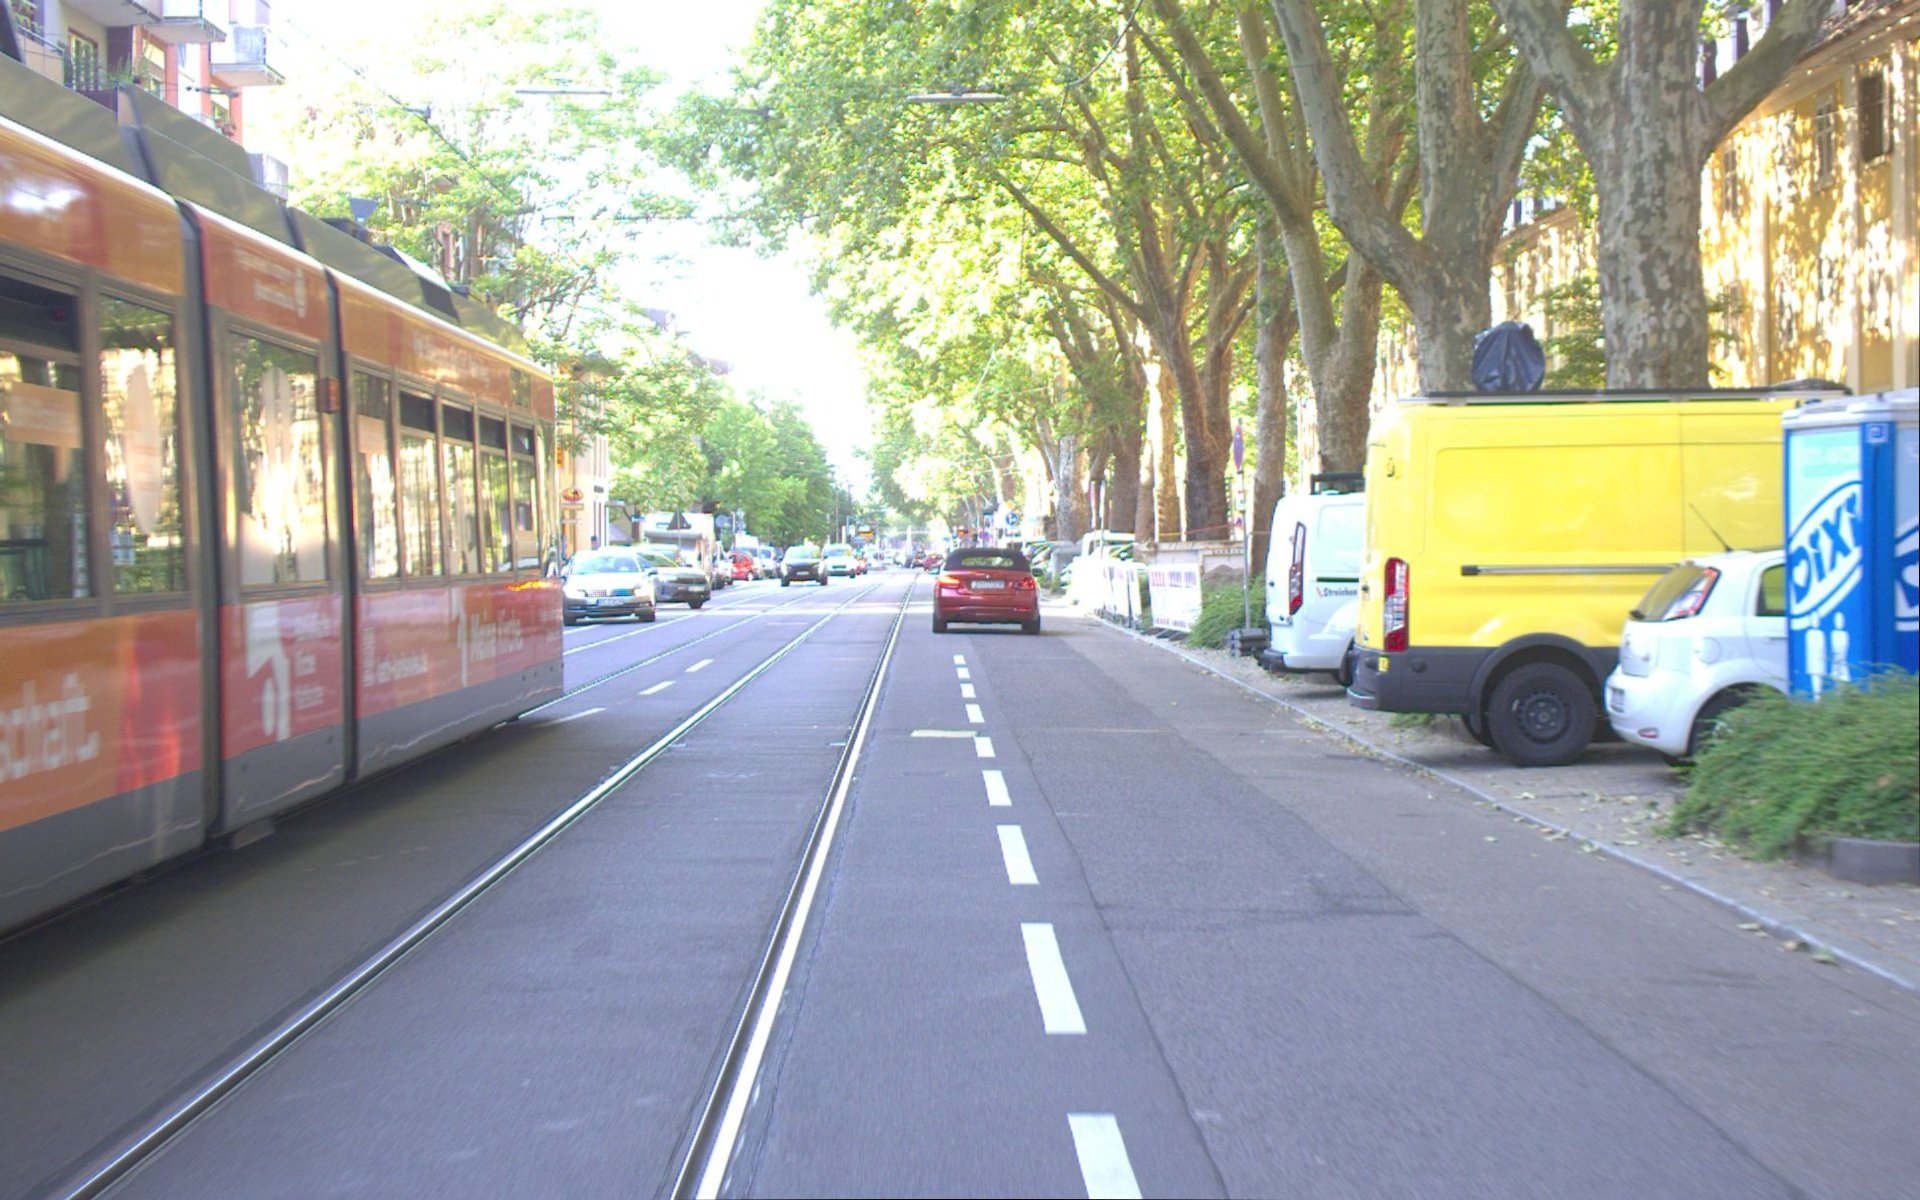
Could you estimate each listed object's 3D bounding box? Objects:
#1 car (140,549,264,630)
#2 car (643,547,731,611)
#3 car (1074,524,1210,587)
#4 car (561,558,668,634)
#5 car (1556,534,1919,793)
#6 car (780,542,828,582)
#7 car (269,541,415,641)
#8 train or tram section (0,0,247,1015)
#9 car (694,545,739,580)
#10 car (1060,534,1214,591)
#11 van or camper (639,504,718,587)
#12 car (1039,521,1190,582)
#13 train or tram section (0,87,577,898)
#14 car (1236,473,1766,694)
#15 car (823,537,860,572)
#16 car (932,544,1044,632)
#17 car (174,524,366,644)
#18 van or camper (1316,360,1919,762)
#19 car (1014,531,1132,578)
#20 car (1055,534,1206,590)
[{"bbox_3d":[-20.279,-0.293,91.848,1.993,2.116,4.723,0,0,-29],"label":"car"},{"bbox_3d":[-6.634,-0.528,83.898,1.796,1.441,4.053,-2,1,0],"label":"car"},{"bbox_3d":[5.252,-1.289,99.195,3.844,1.766,1.916,-1,1,4],"label":"car"},{"bbox_3d":[-6.958,-0.106,69.649,1.795,1.441,4.717,1,1,-2],"label":"car"},{"bbox_3d":[5.805,0.346,21.329,3.906,1.484,1.863,-1,1,2],"label":"car"},{"bbox_3d":[-6.452,-1.604,142.870,1.853,1.595,4.464,-2,1,-1],"label":"car"},{"bbox_3d":[-10.053,-0.160,56.150,1.626,1.566,3.781,-1,0,1],"label":"car"},{"bbox_3d":[-4.476,-0.358,8.103,2.908,3.474,13.370,-1,1,-1],"label":"train or tram section"},{"bbox_3d":[-11.027,-1.709,155.674,1.836,1.463,5.070,2,1,-3],"label":"car"},{"bbox_3d":[4.874,-1.038,94.916,4.087,1.516,1.917,-1,0,-1],"label":"car"},{"bbox_3d":[-10.817,-2.099,132.453,2.337,3.030,6.397,2,1,0],"label":"van or camper"},{"bbox_3d":[5.129,-1.619,114.687,4.835,1.956,2.065,-1,1,-2],"label":"car"},{"bbox_3d":[-4.629,-0.574,21.877,2.908,3.474,14.199,-1,1,-1],"label":"train or tram section"},{"bbox_3d":[5.232,-0.177,33.730,4.834,2.006,2.064,-1,1,0],"label":"car"},{"bbox_3d":[-6.420,-2.492,186.873,1.891,1.826,4.896,-1,1,-1],"label":"car"},{"bbox_3d":[0.455,-0.224,57.407,1.792,1.384,4.236,0,1,0],"label":"car"},{"bbox_3d":[-10.086,-0.250,50.604,1.952,1.643,4.882,1,1,-2],"label":"car"},{"bbox_3d":[5.581,-0.280,24.141,5.926,2.620,2.270,-1,0,2],"label":"van or camper"},{"bbox_3d":[4.417,-1.778,133.955,4.497,1.596,2.027,-2,1,4],"label":"car"},{"bbox_3d":[5.028,-1.123,101.224,4.371,1.537,1.801,-1,2,4],"label":"car"}]
